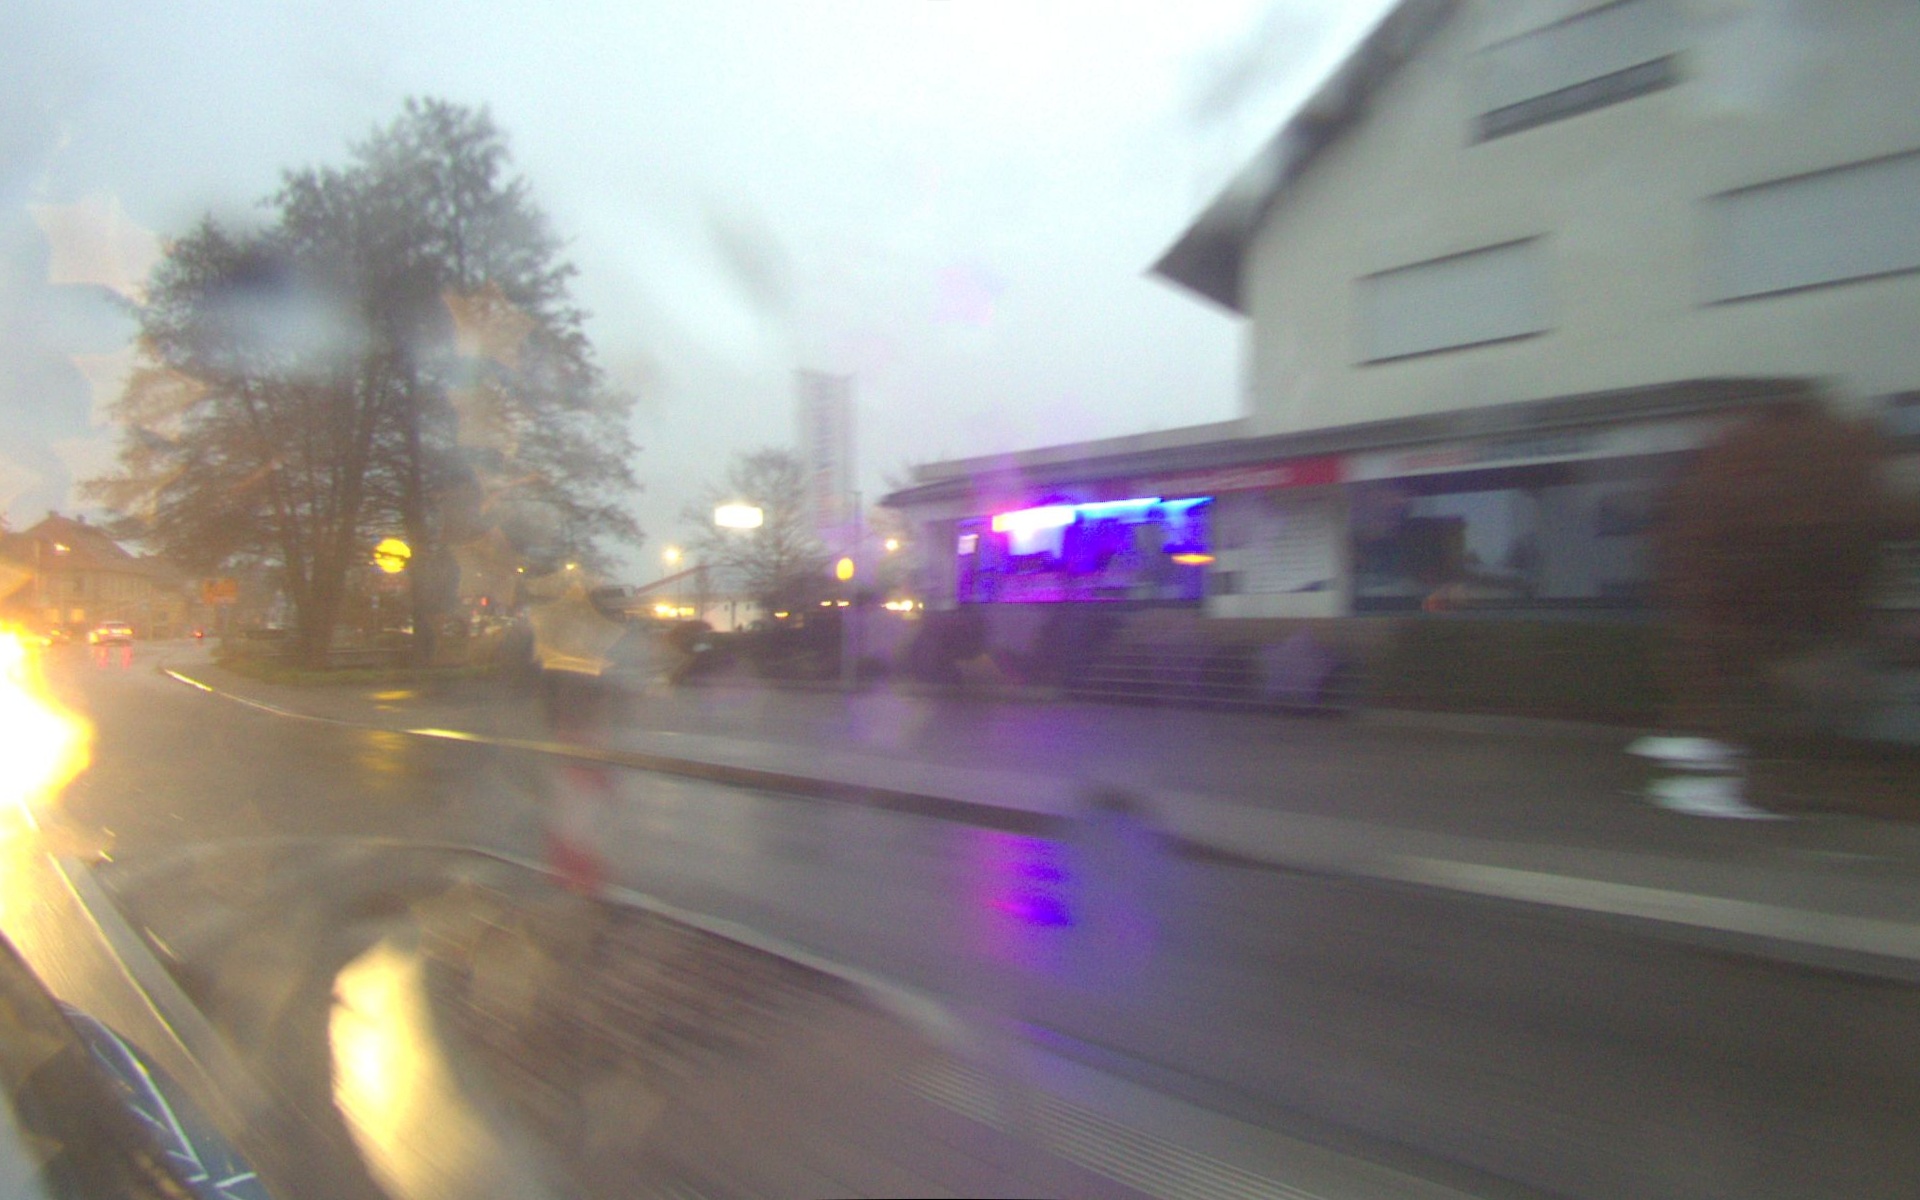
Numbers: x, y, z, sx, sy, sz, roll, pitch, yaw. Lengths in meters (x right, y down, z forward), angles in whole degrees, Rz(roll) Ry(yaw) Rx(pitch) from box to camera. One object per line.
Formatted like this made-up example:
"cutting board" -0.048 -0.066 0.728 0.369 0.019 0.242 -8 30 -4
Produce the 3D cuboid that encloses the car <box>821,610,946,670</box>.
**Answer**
"car" -3.248 1.694 42.218 5.271 2.296 2.255 -4 -2 45

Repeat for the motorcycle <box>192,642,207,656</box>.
"motorcycle" -59.667 3.815 79.418 0.854 1.031 2.115 0 -1 -34

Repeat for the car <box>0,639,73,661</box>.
"car" -66.254 3.555 72.369 3.979 1.506 1.780 0 -2 -7

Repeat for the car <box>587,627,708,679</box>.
"car" -13.456 2.280 43.814 2.125 1.992 4.603 -4 -2 37

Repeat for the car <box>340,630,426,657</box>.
"car" -39.328 2.940 69.064 2.032 1.725 4.719 -2 -3 42

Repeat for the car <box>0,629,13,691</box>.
"car" -28.682 1.745 29.085 1.870 1.712 4.247 -2 0 -40

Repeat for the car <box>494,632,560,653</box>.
"car" -34.693 3.438 81.152 2.055 1.575 4.382 -3 -5 42

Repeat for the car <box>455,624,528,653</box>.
"car" -39.824 3.333 86.142 2.218 2.300 5.129 -3 -5 42

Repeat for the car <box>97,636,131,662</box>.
"car" -59.066 3.373 70.623 1.749 1.736 4.428 1 -2 -41

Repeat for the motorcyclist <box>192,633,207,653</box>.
"motorcyclist" -59.680 3.372 79.428 0.854 1.496 0.911 0 -1 -34
